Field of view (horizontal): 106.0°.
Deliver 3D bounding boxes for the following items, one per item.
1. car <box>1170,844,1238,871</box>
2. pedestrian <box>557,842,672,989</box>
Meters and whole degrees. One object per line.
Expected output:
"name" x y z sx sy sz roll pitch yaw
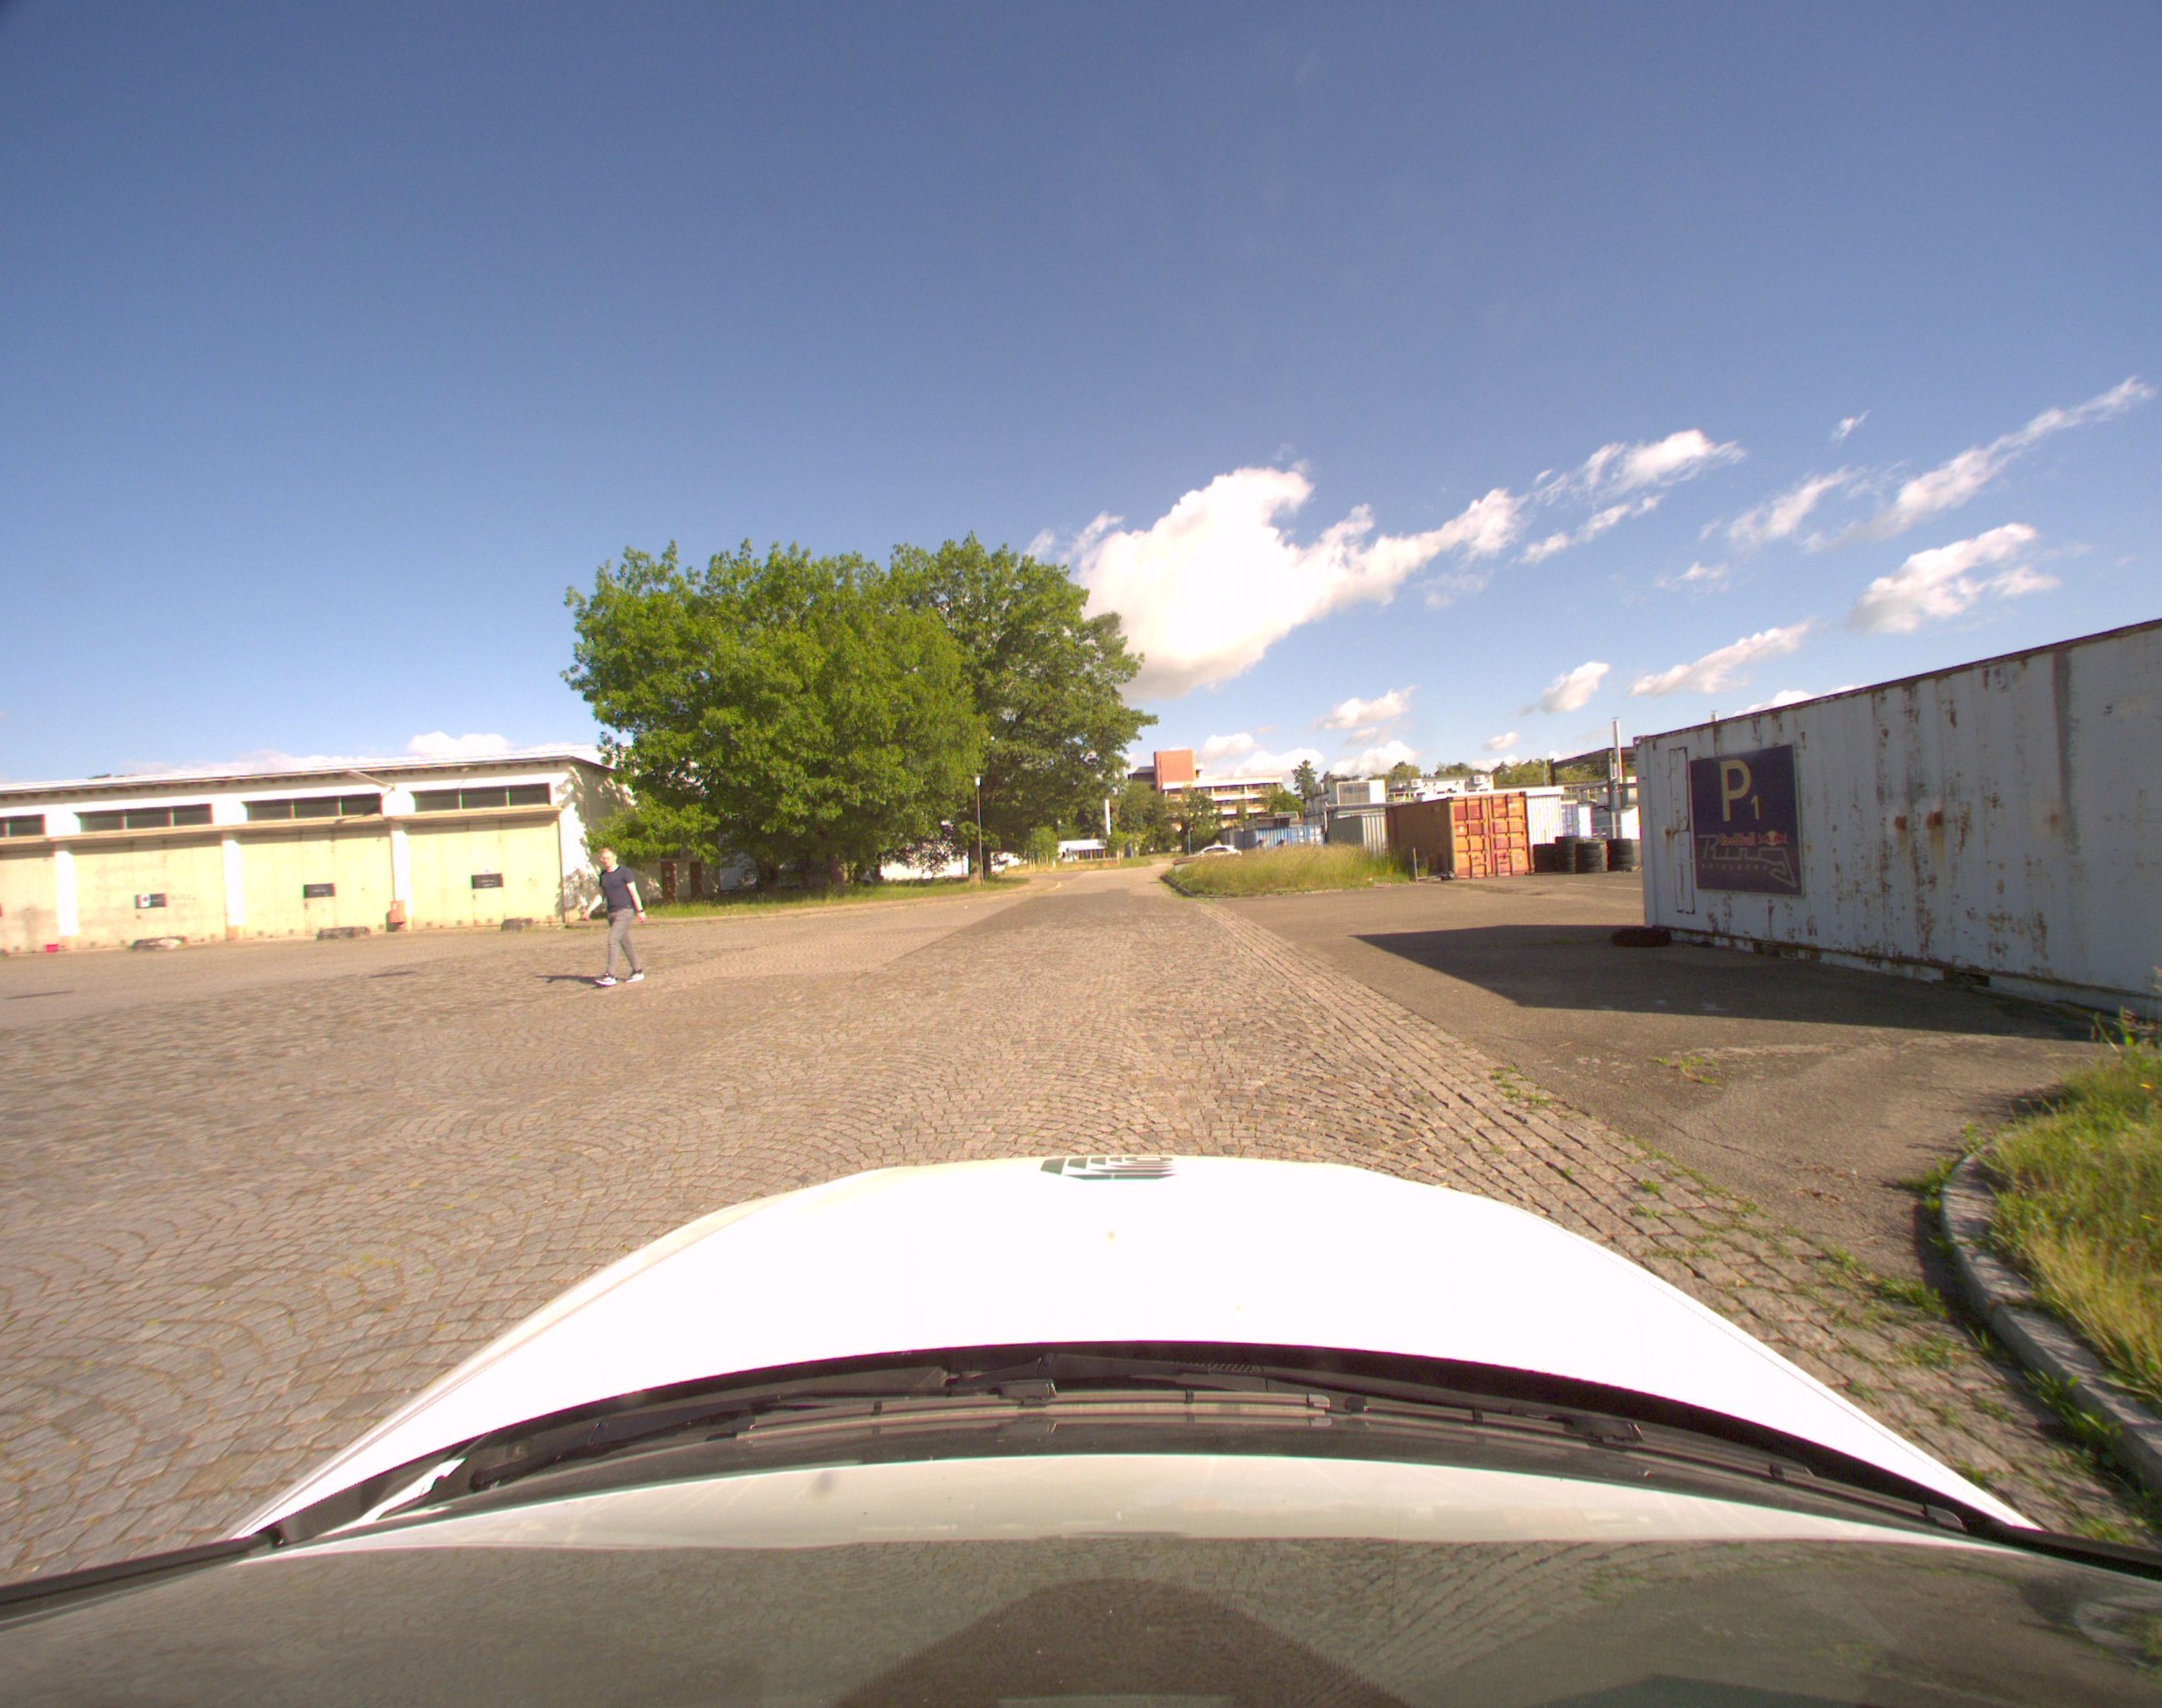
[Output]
"car" 8.832 0.268 58.713 4.570 1.677 1.876 -3 0 2
"pedestrian" -6.497 0.813 11.405 0.794 1.914 1.143 -3 0 4
